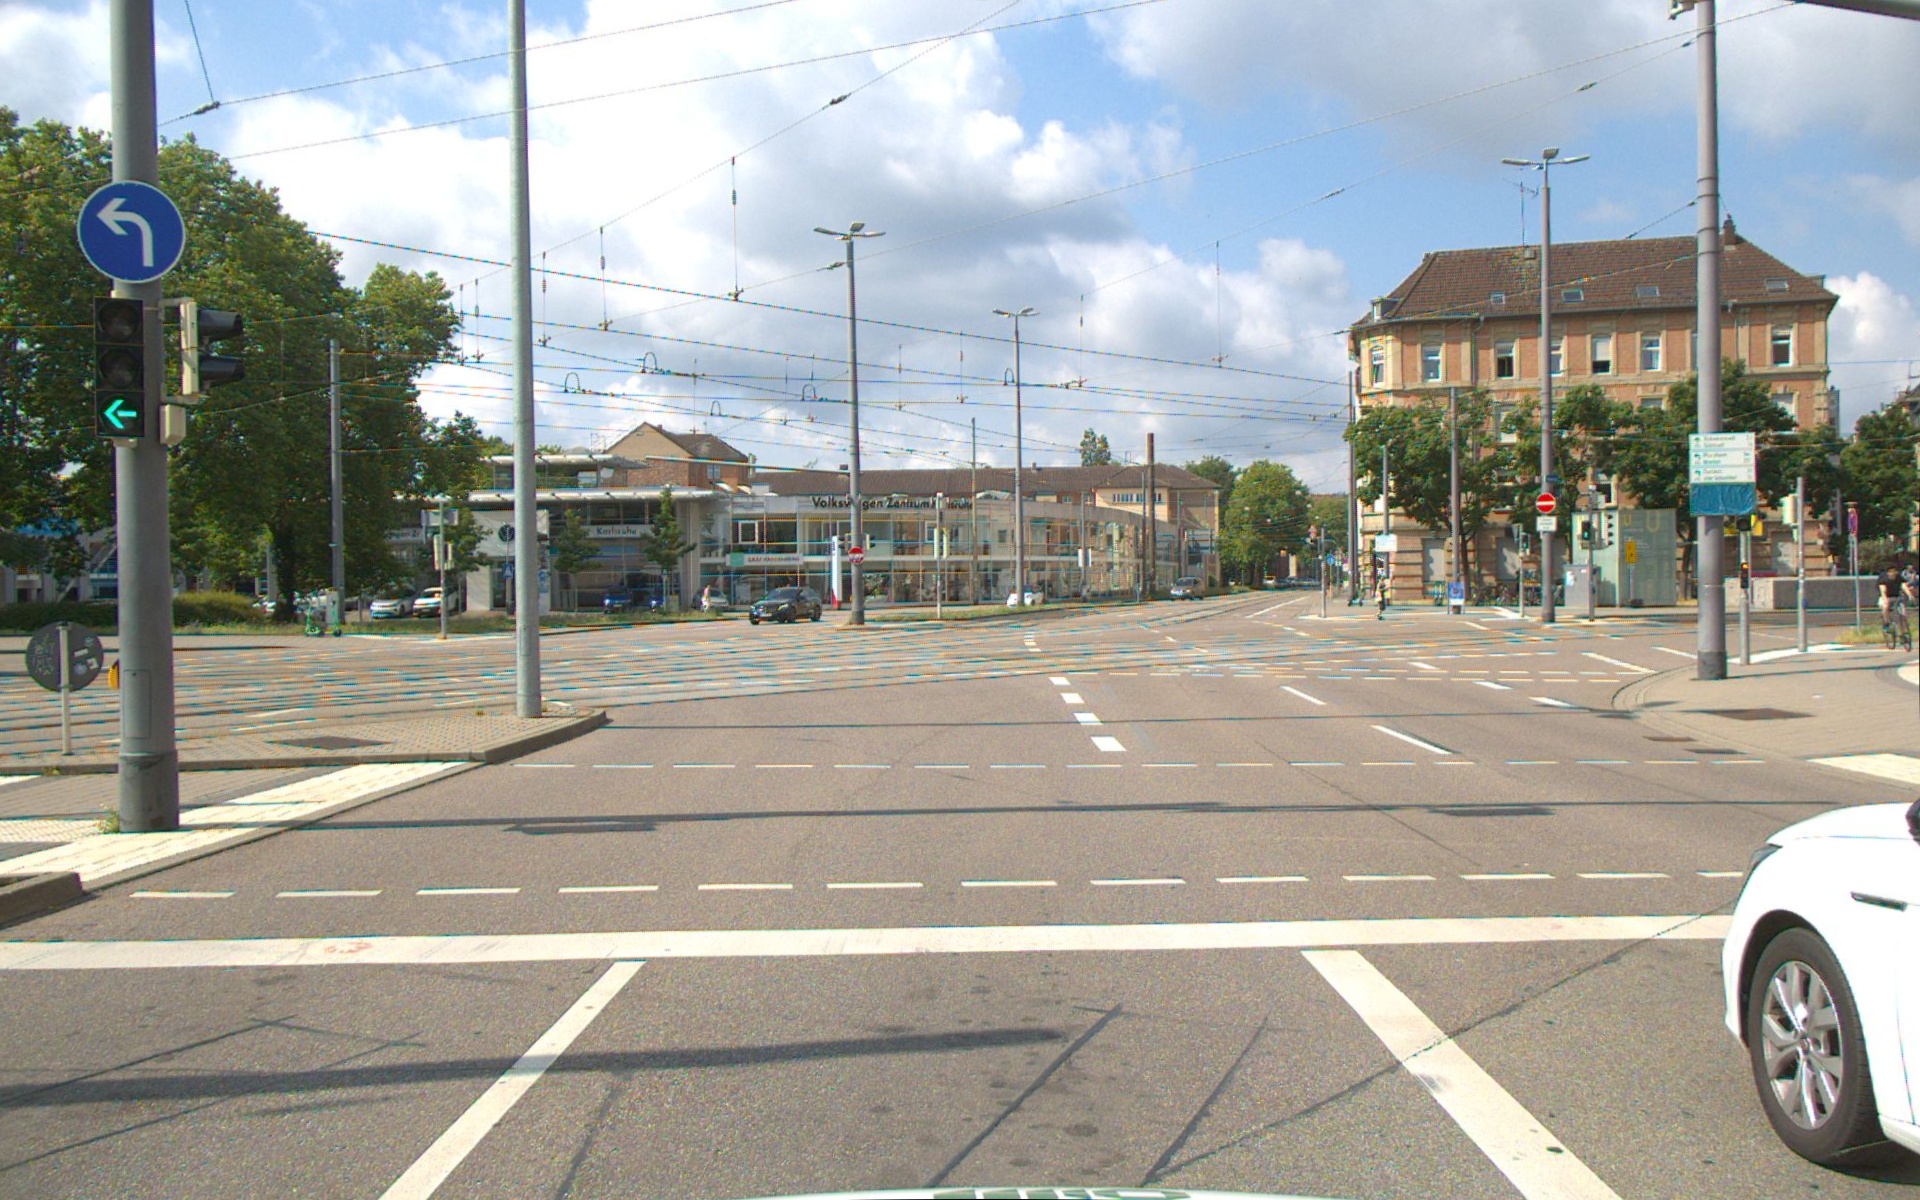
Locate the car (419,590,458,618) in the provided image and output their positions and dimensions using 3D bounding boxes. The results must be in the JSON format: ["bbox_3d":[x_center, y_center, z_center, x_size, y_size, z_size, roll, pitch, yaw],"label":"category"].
[{"bbox_3d":[-32.665,0.215,103.618,1.753,1.712,3.991,-1,1,-9],"label":"car"}]

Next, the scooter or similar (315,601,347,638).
[{"bbox_3d":[-21.266,0.664,55.909,1.040,1.217,0.381,1,-1,26],"label":"scooter or similar"}]

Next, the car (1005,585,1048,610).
[{"bbox_3d":[4.118,-0.129,101.885,1.650,1.495,3.657,1,0,19],"label":"car"}]

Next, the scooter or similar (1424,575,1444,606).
[{"bbox_3d":[23.841,-0.484,83.220,0.859,1.508,2.016,-1,0,14],"label":"scooter or similar"}]

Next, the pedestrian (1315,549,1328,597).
[{"bbox_3d":[23.798,-1.772,108.965,0.652,3.175,0.887,1,-1,23],"label":"pedestrian"}]

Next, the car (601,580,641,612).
[{"bbox_3d":[-21.119,-0.247,103.100,1.955,1.870,3.995,-2,0,-5],"label":"car"}]

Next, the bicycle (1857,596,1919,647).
[{"bbox_3d":[18.112,0.409,32.063,0.742,0.890,1.811,-3,1,12],"label":"bicycle"}]

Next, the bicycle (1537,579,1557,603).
[{"bbox_3d":[29.180,-0.463,82.257,0.742,1.186,2.687,-1,0,16],"label":"bicycle"}]

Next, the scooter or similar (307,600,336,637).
[{"bbox_3d":[-21.389,0.616,55.372,1.043,1.217,0.380,0,-1,36],"label":"scooter or similar"}]

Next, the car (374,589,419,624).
[{"bbox_3d":[-35.101,0.412,103.101,1.957,2.049,3.991,2,-1,-9],"label":"car"}]

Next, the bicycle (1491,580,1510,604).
[{"bbox_3d":[27.087,-0.411,82.964,0.743,1.186,2.687,3,1,16],"label":"bicycle"}]

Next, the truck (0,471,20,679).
[{"bbox_3d":[-22.763,-0.548,31.717,7.877,4.079,2.838,1,-1,3],"label":"truck"}]

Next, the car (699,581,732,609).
[{"bbox_3d":[-15.383,-0.303,103.843,1.893,1.713,3.990,1,0,-10],"label":"car"}]

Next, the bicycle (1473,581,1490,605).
[{"bbox_3d":[26.288,-0.378,83.418,0.742,1.186,2.687,-1,0,16],"label":"bicycle"}]

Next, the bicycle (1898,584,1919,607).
[{"bbox_3d":[40.808,-0.209,70.154,1.749,0.973,0.841,-2,-1,-23],"label":"bicycle"}]

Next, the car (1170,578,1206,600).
[{"bbox_3d":[17.179,-0.833,124.612,1.952,1.601,3.738,-1,0,19],"label":"car"}]

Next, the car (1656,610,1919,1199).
[{"bbox_3d":[3.194,0.758,3.166,1.722,1.454,4.674,1,0,-1],"label":"car"}]

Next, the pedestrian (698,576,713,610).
[{"bbox_3d":[-15.543,-0.437,101.041,0.853,2.049,0.702,-1,0,-9],"label":"pedestrian"}]

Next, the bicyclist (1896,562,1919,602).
[{"bbox_3d":[40.604,-0.761,70.454,1.126,1.704,0.612,-1,0,-17],"label":"bicyclist"}]

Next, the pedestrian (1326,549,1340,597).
[{"bbox_3d":[24.510,-1.763,108.641,0.710,3.130,0.887,1,-1,23],"label":"pedestrian"}]

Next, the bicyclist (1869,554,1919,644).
[{"bbox_3d":[18.090,-0.016,32.029,0.565,1.701,0.938,-2,0,12],"label":"bicyclist"}]

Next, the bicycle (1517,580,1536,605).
[{"bbox_3d":[28.240,-0.364,82.454,0.743,1.186,2.686,1,0,16],"label":"bicycle"}]

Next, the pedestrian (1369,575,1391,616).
[{"bbox_3d":[16.114,-0.174,63.401,0.725,1.542,0.544,-1,0,22],"label":"pedestrian"}]

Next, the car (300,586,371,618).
[{"bbox_3d":[-41.457,0.155,109.895,3.903,2.049,2.001,1,0,4],"label":"car"}]

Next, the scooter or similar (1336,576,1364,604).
[{"bbox_3d":[20.042,-0.502,85.012,1.151,1.410,2.806,1,0,8],"label":"scooter or similar"}]

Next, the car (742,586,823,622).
[{"bbox_3d":[-7.188,0.134,67.259,1.825,1.400,3.943,-1,0,18],"label":"car"}]

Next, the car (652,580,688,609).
[{"bbox_3d":[-17.994,-0.314,102.649,1.955,1.756,3.994,1,0,-7],"label":"car"}]
